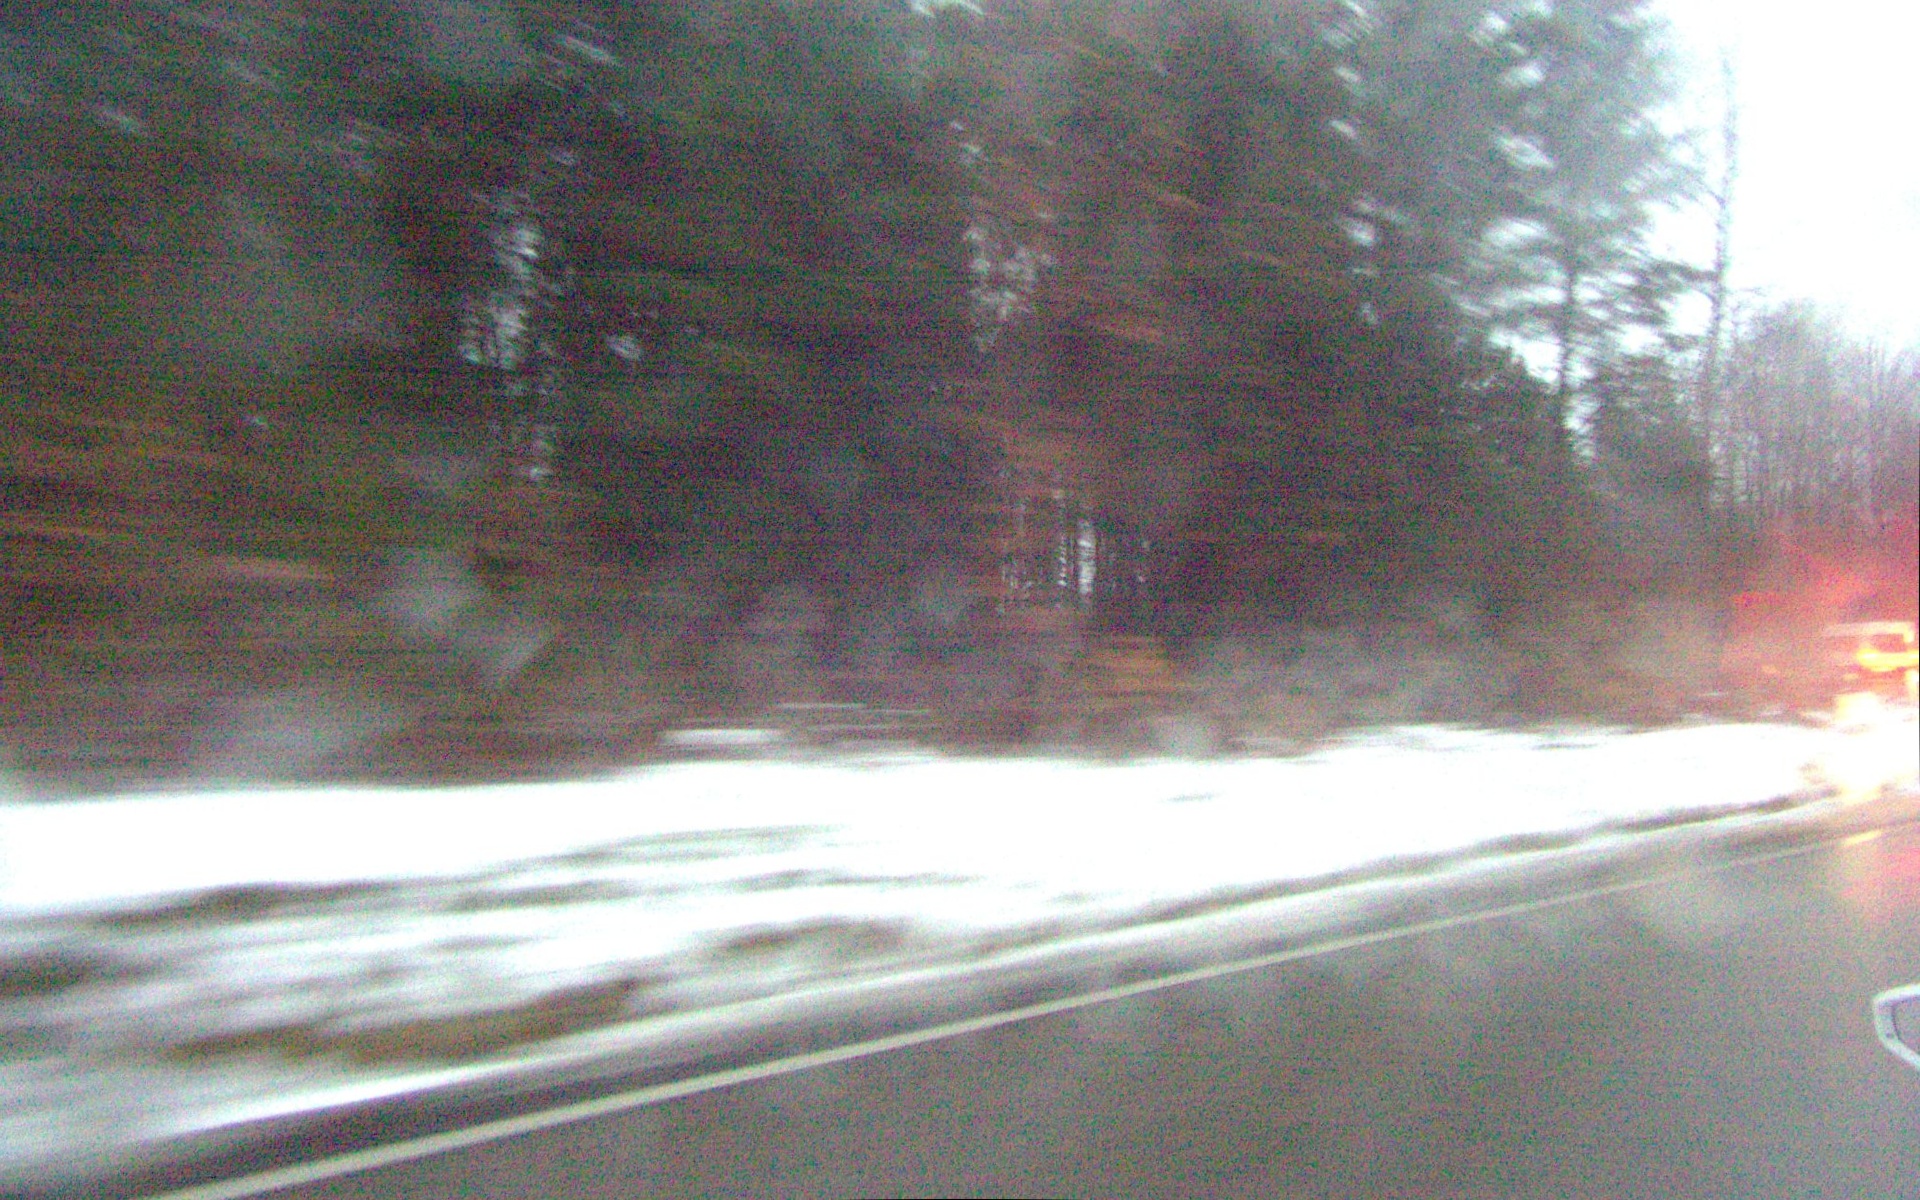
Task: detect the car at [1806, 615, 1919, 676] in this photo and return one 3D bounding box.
[{"bbox_3d":[41.807,2.108,46.618,2.215,2.680,5.006,-1,-3,20],"label":"car"}]
